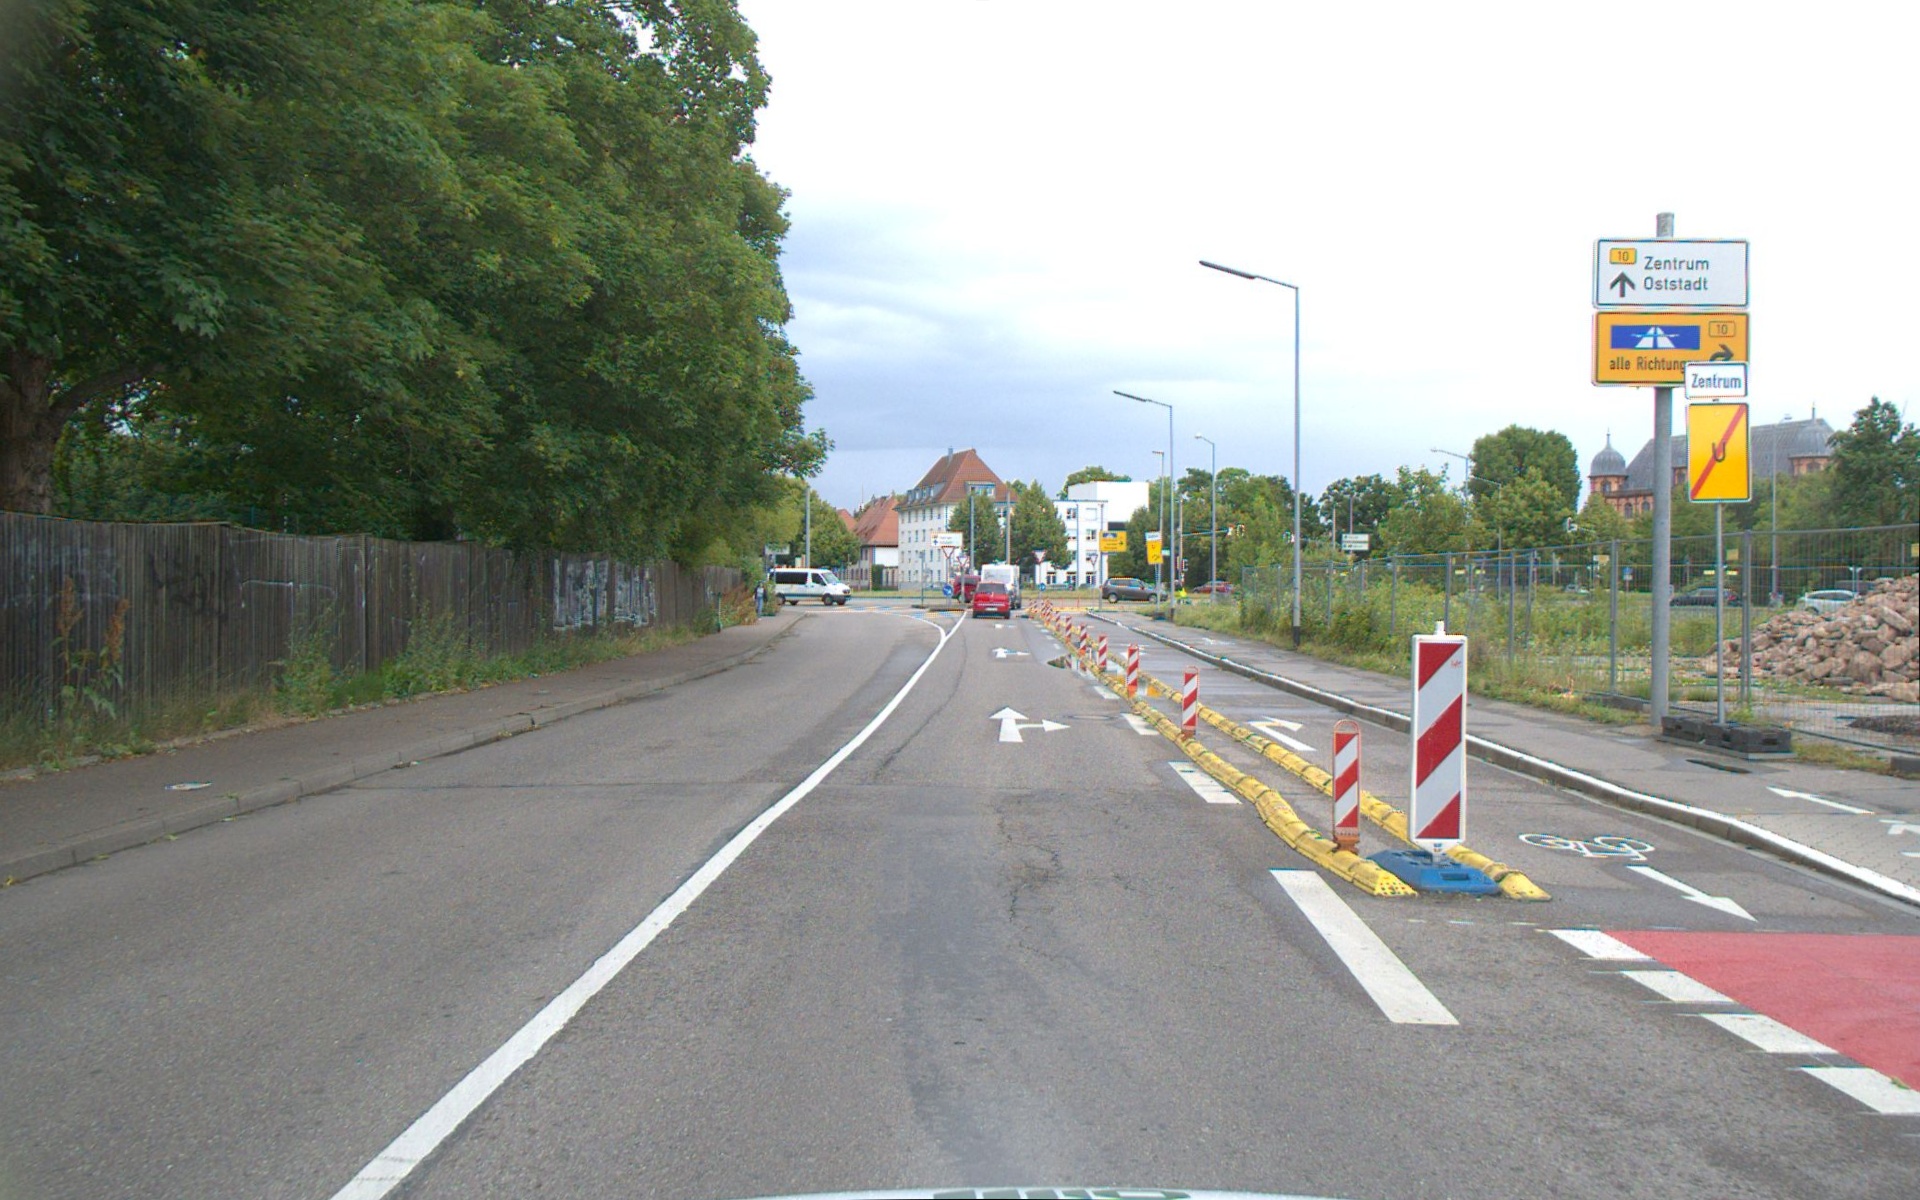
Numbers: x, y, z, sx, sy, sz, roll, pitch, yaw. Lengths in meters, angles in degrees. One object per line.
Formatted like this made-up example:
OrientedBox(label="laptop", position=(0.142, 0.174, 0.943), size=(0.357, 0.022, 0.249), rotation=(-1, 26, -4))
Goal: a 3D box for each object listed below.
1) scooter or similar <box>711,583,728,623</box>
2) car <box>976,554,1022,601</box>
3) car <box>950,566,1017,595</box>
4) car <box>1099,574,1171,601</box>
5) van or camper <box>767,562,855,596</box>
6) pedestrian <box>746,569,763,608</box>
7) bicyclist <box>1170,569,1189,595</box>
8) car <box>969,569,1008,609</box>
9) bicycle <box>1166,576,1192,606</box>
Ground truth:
OrientedBox(label="scooter or similar", position=(-7.308, 0.086, 50.260), size=(0.414, 1.191, 1.302), rotation=(0, 1, -4))
OrientedBox(label="car", position=(2.299, -1.316, 96.544), size=(2.148, 2.584, 4.966), rotation=(1, 1, 7))
OrientedBox(label="car", position=(1.574, -1.309, 110.634), size=(4.105, 1.951, 2.117), rotation=(0, 1, 12))
OrientedBox(label="car", position=(11.765, -0.858, 111.269), size=(4.530, 1.826, 2.101), rotation=(1, 1, 44))
OrientedBox(label="van or camper", position=(-9.754, -1.361, 108.258), size=(5.421, 2.152, 2.000), rotation=(0, 1, 22))
OrientedBox(label="pedestrian", position=(-8.249, -0.462, 66.399), size=(0.600, 1.556, 0.723), rotation=(0, 1, -3))
OrientedBox(label="bicyclist", position=(12.110, -0.970, 91.296), size=(1.039, 1.426, 0.615), rotation=(0, 1, 4))
OrientedBox(label="car", position=(1.259, -0.497, 73.127), size=(1.639, 1.669, 3.628), rotation=(1, 1, 1))
OrientedBox(label="bicycle", position=(12.205, -0.514, 92.206), size=(1.446, 1.640, 0.606), rotation=(0, 1, 4))
